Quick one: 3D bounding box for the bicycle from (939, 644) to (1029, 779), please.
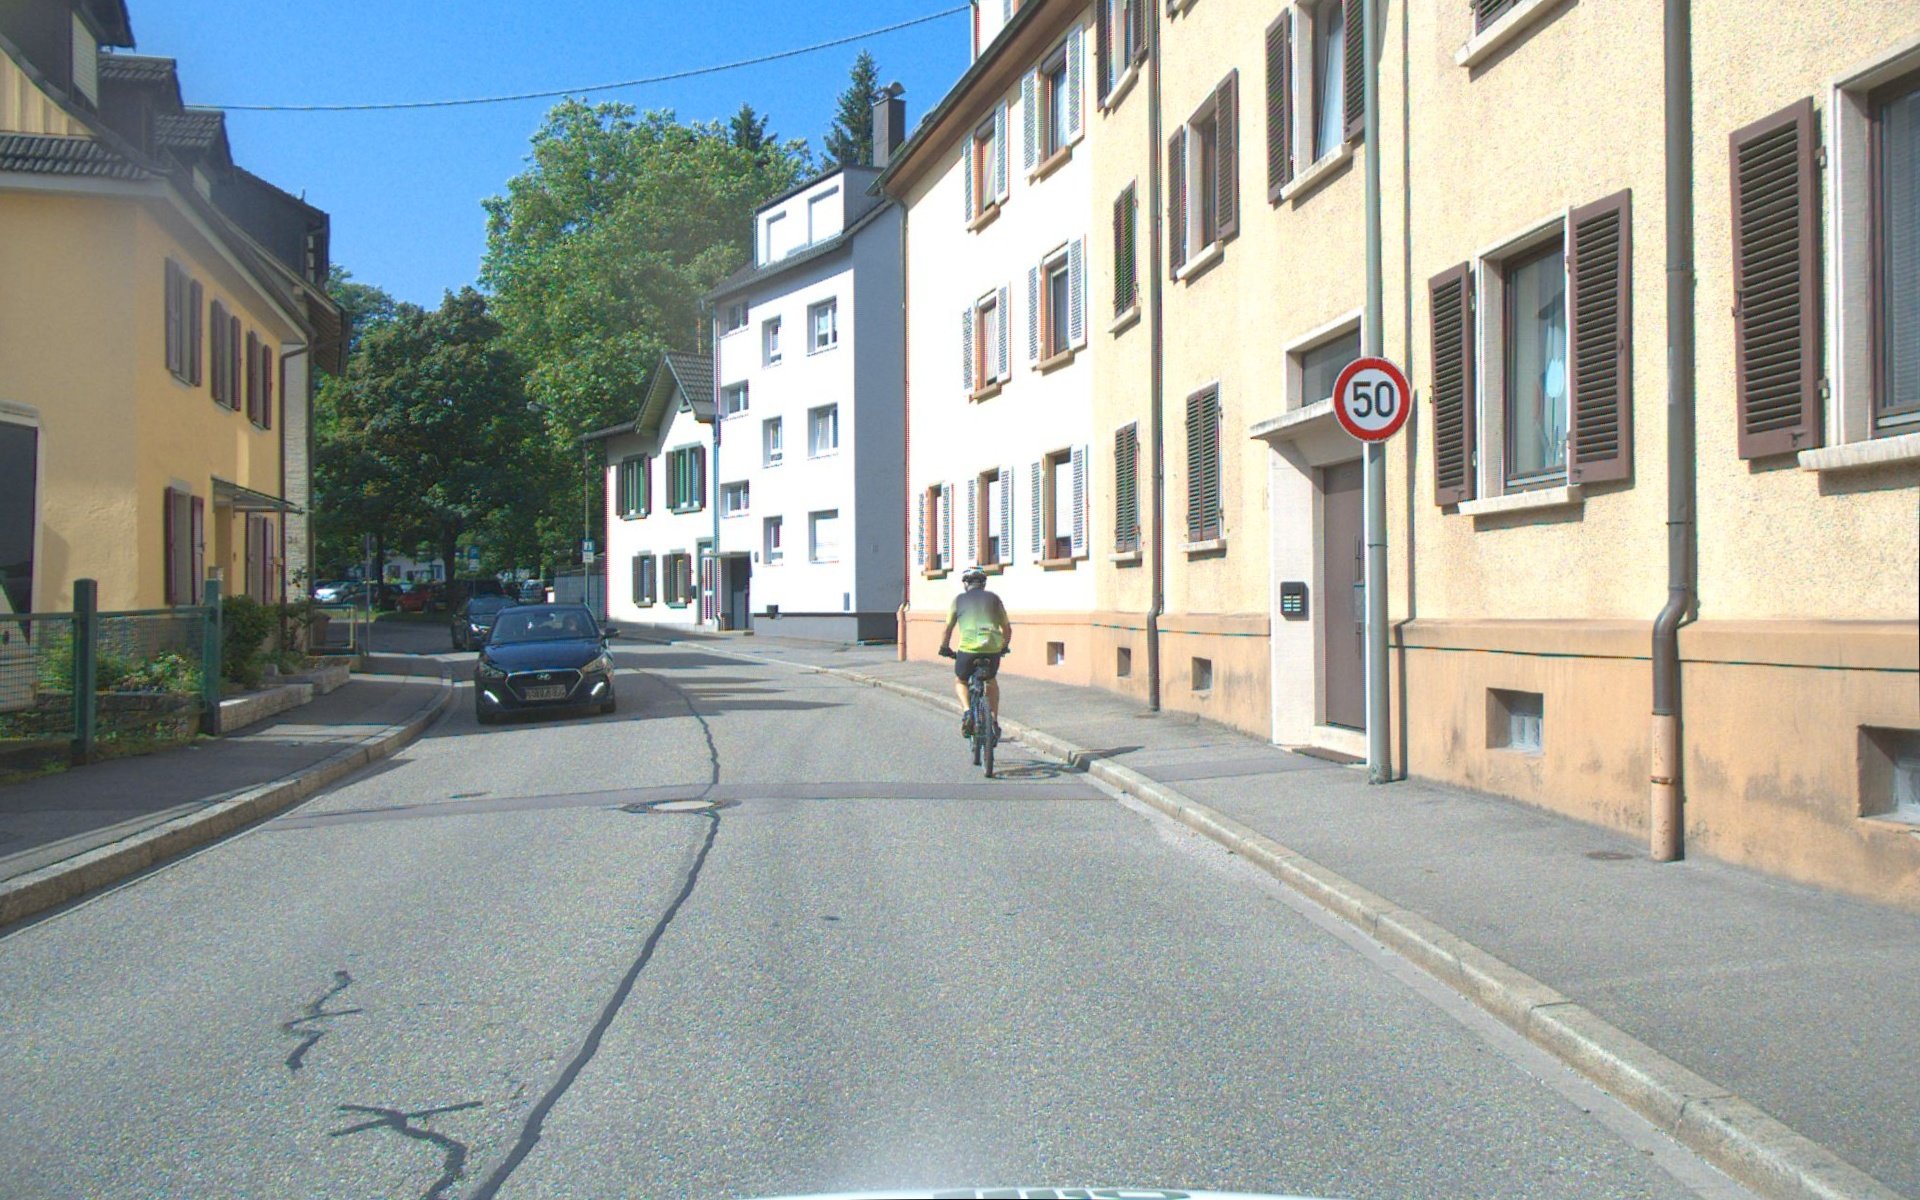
[{"bbox_3d":[0.187,0.936,14.277,0.684,1.053,1.470,1,0,-3],"label":"bicycle"}]

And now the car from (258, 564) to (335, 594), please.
[{"bbox_3d":[-41.962,-1.308,104.682,1.952,1.887,4.702,0,0,19],"label":"car"}]

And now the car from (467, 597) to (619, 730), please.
[{"bbox_3d":[-5.584,0.777,22.533,1.717,1.478,4.016,-4,1,-11],"label":"car"}]

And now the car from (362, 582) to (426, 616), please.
[{"bbox_3d":[-28.592,-0.067,83.537,1.699,1.569,3.940,-2,2,-41],"label":"car"}]

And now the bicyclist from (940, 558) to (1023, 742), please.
[{"bbox_3d":[0.181,0.423,14.338,0.672,1.558,0.715,0,0,-3],"label":"bicyclist"}]

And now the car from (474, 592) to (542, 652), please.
[{"bbox_3d":[-12.470,0.567,45.515,1.633,1.474,4.239,-4,1,-16],"label":"car"}]

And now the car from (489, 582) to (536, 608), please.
[{"bbox_3d":[-23.603,-0.268,87.212,1.565,1.279,3.822,-2,1,-28],"label":"car"}]

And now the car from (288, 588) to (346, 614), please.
[{"bbox_3d":[-39.400,0.065,101.408,1.771,1.579,4.002,0,0,4],"label":"car"}]

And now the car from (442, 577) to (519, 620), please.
[{"bbox_3d":[-21.508,-0.098,74.119,1.812,1.822,3.940,-2,2,-41],"label":"car"}]

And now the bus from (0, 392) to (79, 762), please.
[{"bbox_3d":[-9.682,-0.211,11.500,2.764,3.284,9.028,1,0,-4],"label":"bus"}]
